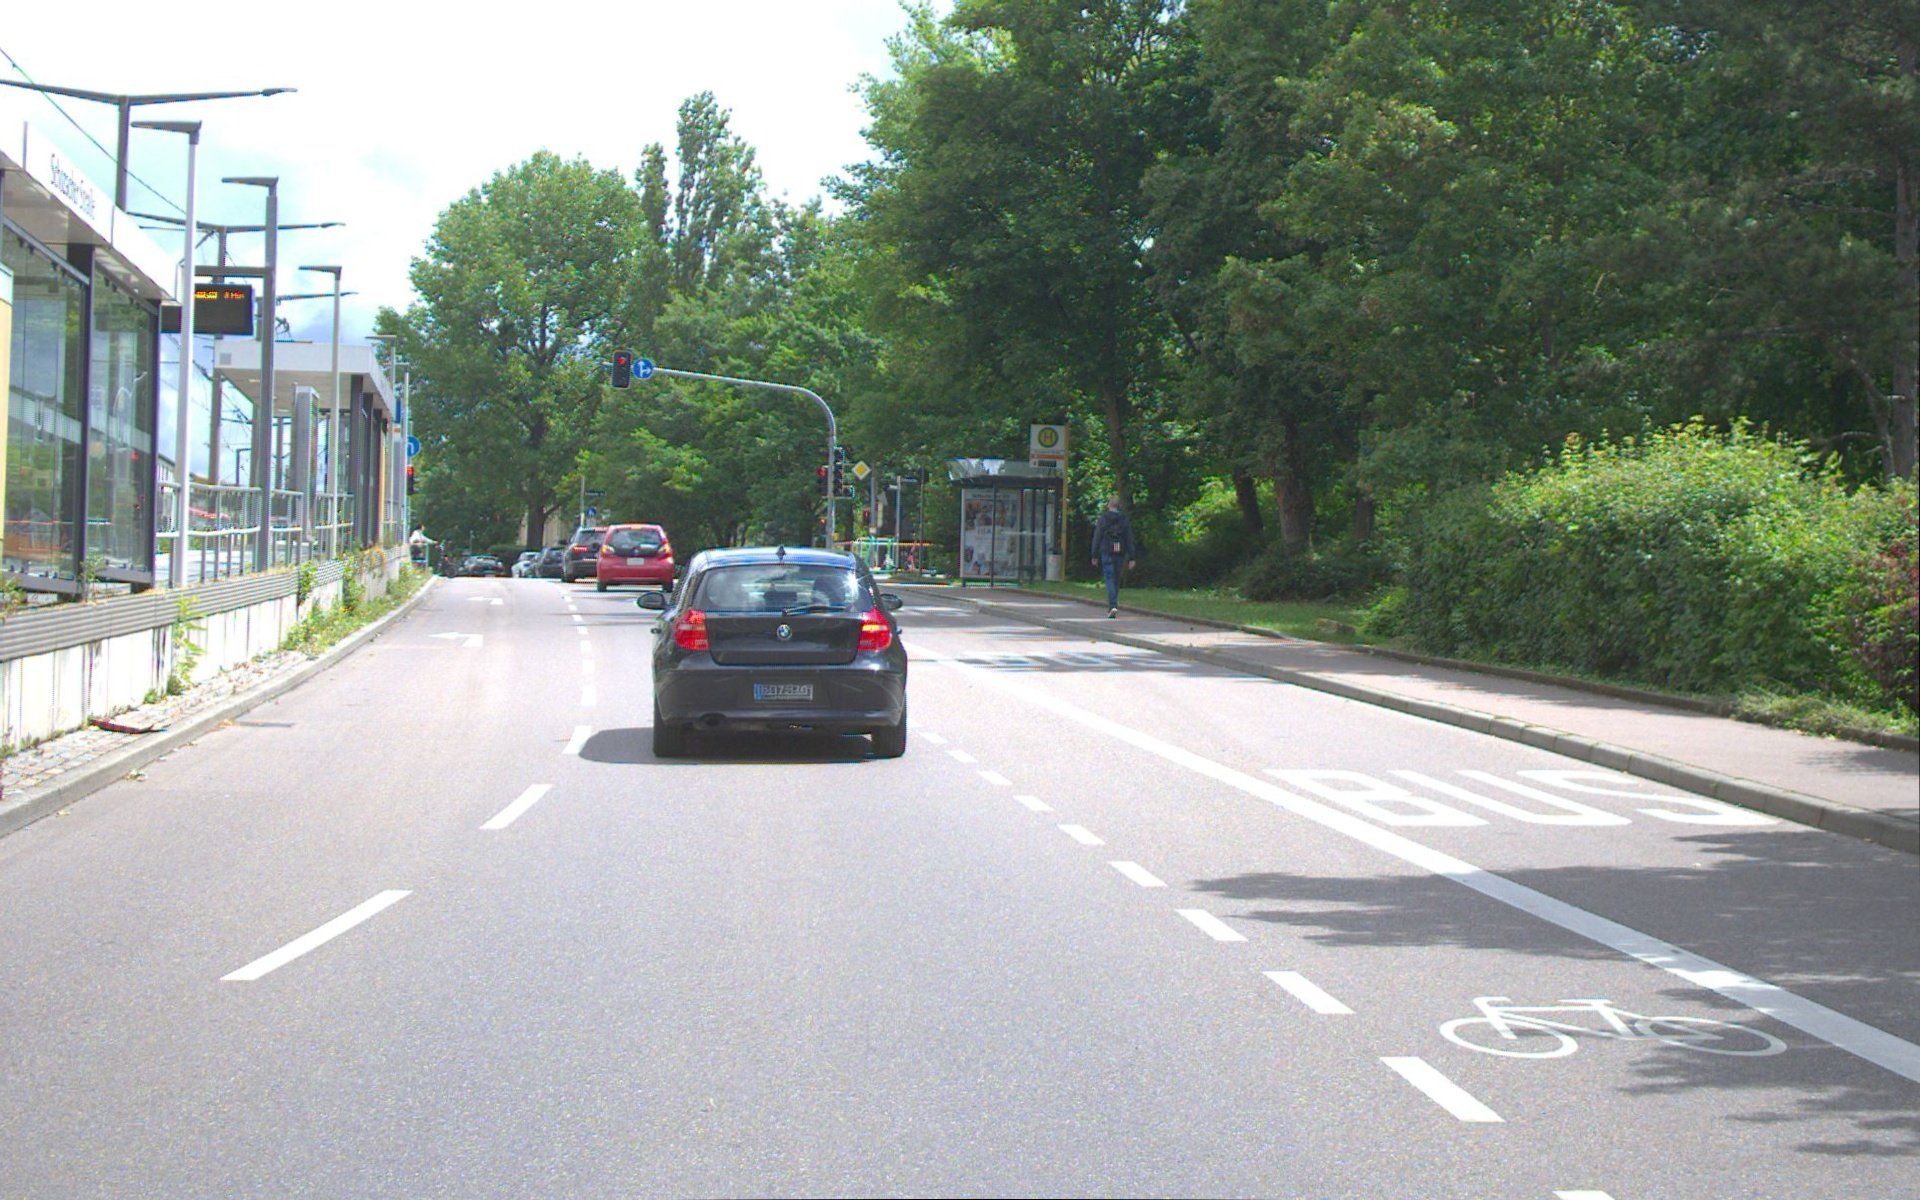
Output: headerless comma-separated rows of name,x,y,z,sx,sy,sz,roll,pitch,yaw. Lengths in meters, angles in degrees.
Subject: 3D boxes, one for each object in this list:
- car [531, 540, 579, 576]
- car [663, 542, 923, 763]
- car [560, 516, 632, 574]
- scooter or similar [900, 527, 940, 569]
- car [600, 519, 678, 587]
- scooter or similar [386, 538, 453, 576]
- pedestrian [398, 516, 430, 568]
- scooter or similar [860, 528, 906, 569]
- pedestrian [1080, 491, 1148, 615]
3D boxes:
car,-16.519,-1.724,140.351,1.654,1.414,3.517,2,1,-3
car,-1.241,0.316,24.204,1.654,1.414,3.518,1,1,-5
car,-9.289,-1.411,87.524,1.654,1.414,3.518,1,1,-9
scooter or similar,-1.189,-1.544,101.957,1.106,1.253,0.332,0,1,-19
car,-6.957,-1.029,74.256,1.594,1.414,3.518,1,1,-7
scooter or similar,-14.844,-1.185,94.484,1.780,1.047,0.410,0,2,-30
pedestrian,-15.080,-1.610,94.976,0.865,1.437,0.799,0,1,-9
scooter or similar,-2.260,-1.520,101.060,1.287,1.185,0.385,0,1,-22
pedestrian,2.403,-0.738,53.825,0.801,1.889,1.271,2,1,-6
